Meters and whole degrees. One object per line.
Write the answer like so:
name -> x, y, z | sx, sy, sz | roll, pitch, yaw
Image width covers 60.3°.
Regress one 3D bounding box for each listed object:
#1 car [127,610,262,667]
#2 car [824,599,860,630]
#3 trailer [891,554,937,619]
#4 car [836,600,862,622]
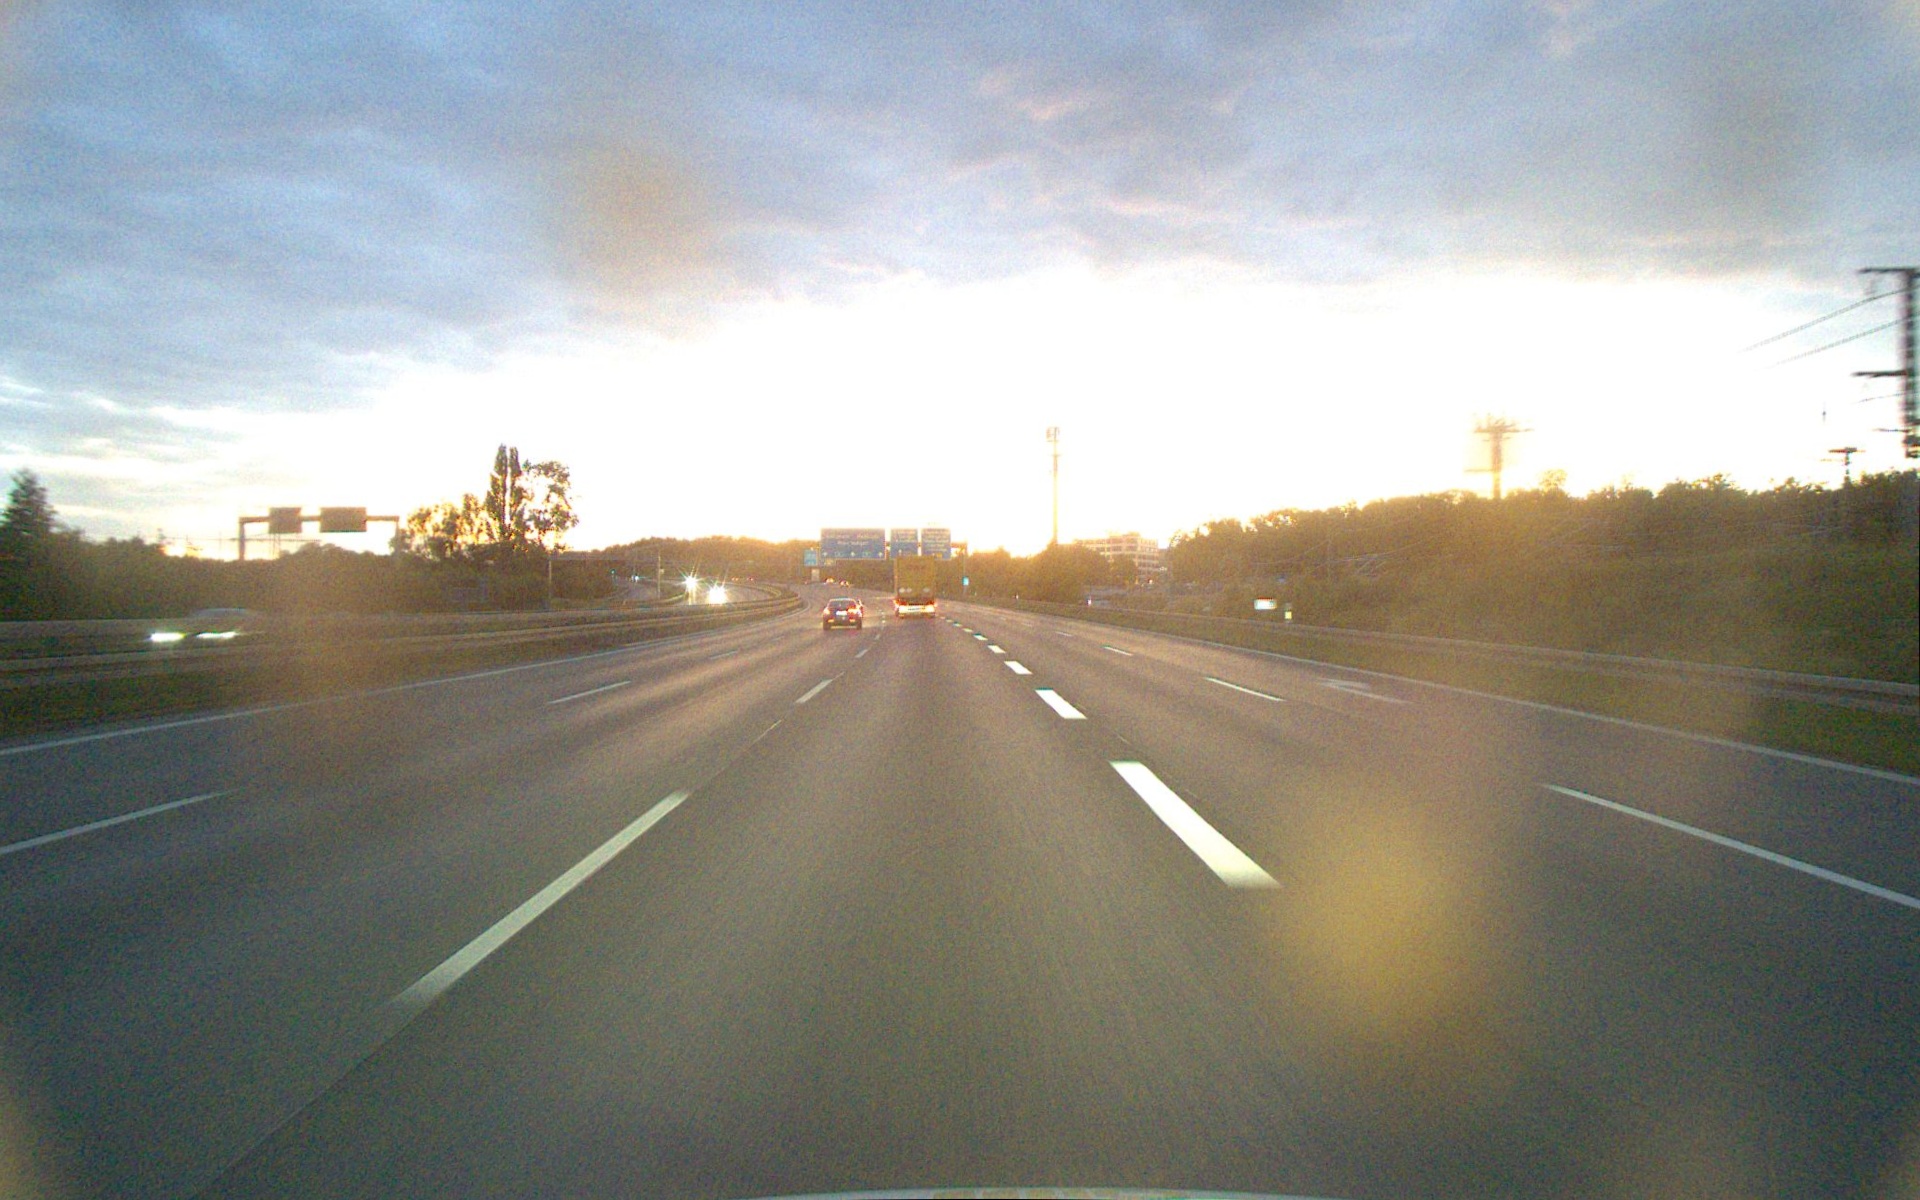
car -> -20.946, 1.065, 45.483 | 1.655, 1.426, 4.428 | 2, -1, -1
car -> -5.695, 0.685, 79.418 | 1.656, 1.426, 3.405 | -2, 0, -5
trailer -> -3.138, -0.960, 111.219 | 2.668, 4.142, 8.825 | -1, 1, -4
car -> -7.817, 0.791, 116.797 | 1.656, 1.426, 3.407 | -2, -1, -3
